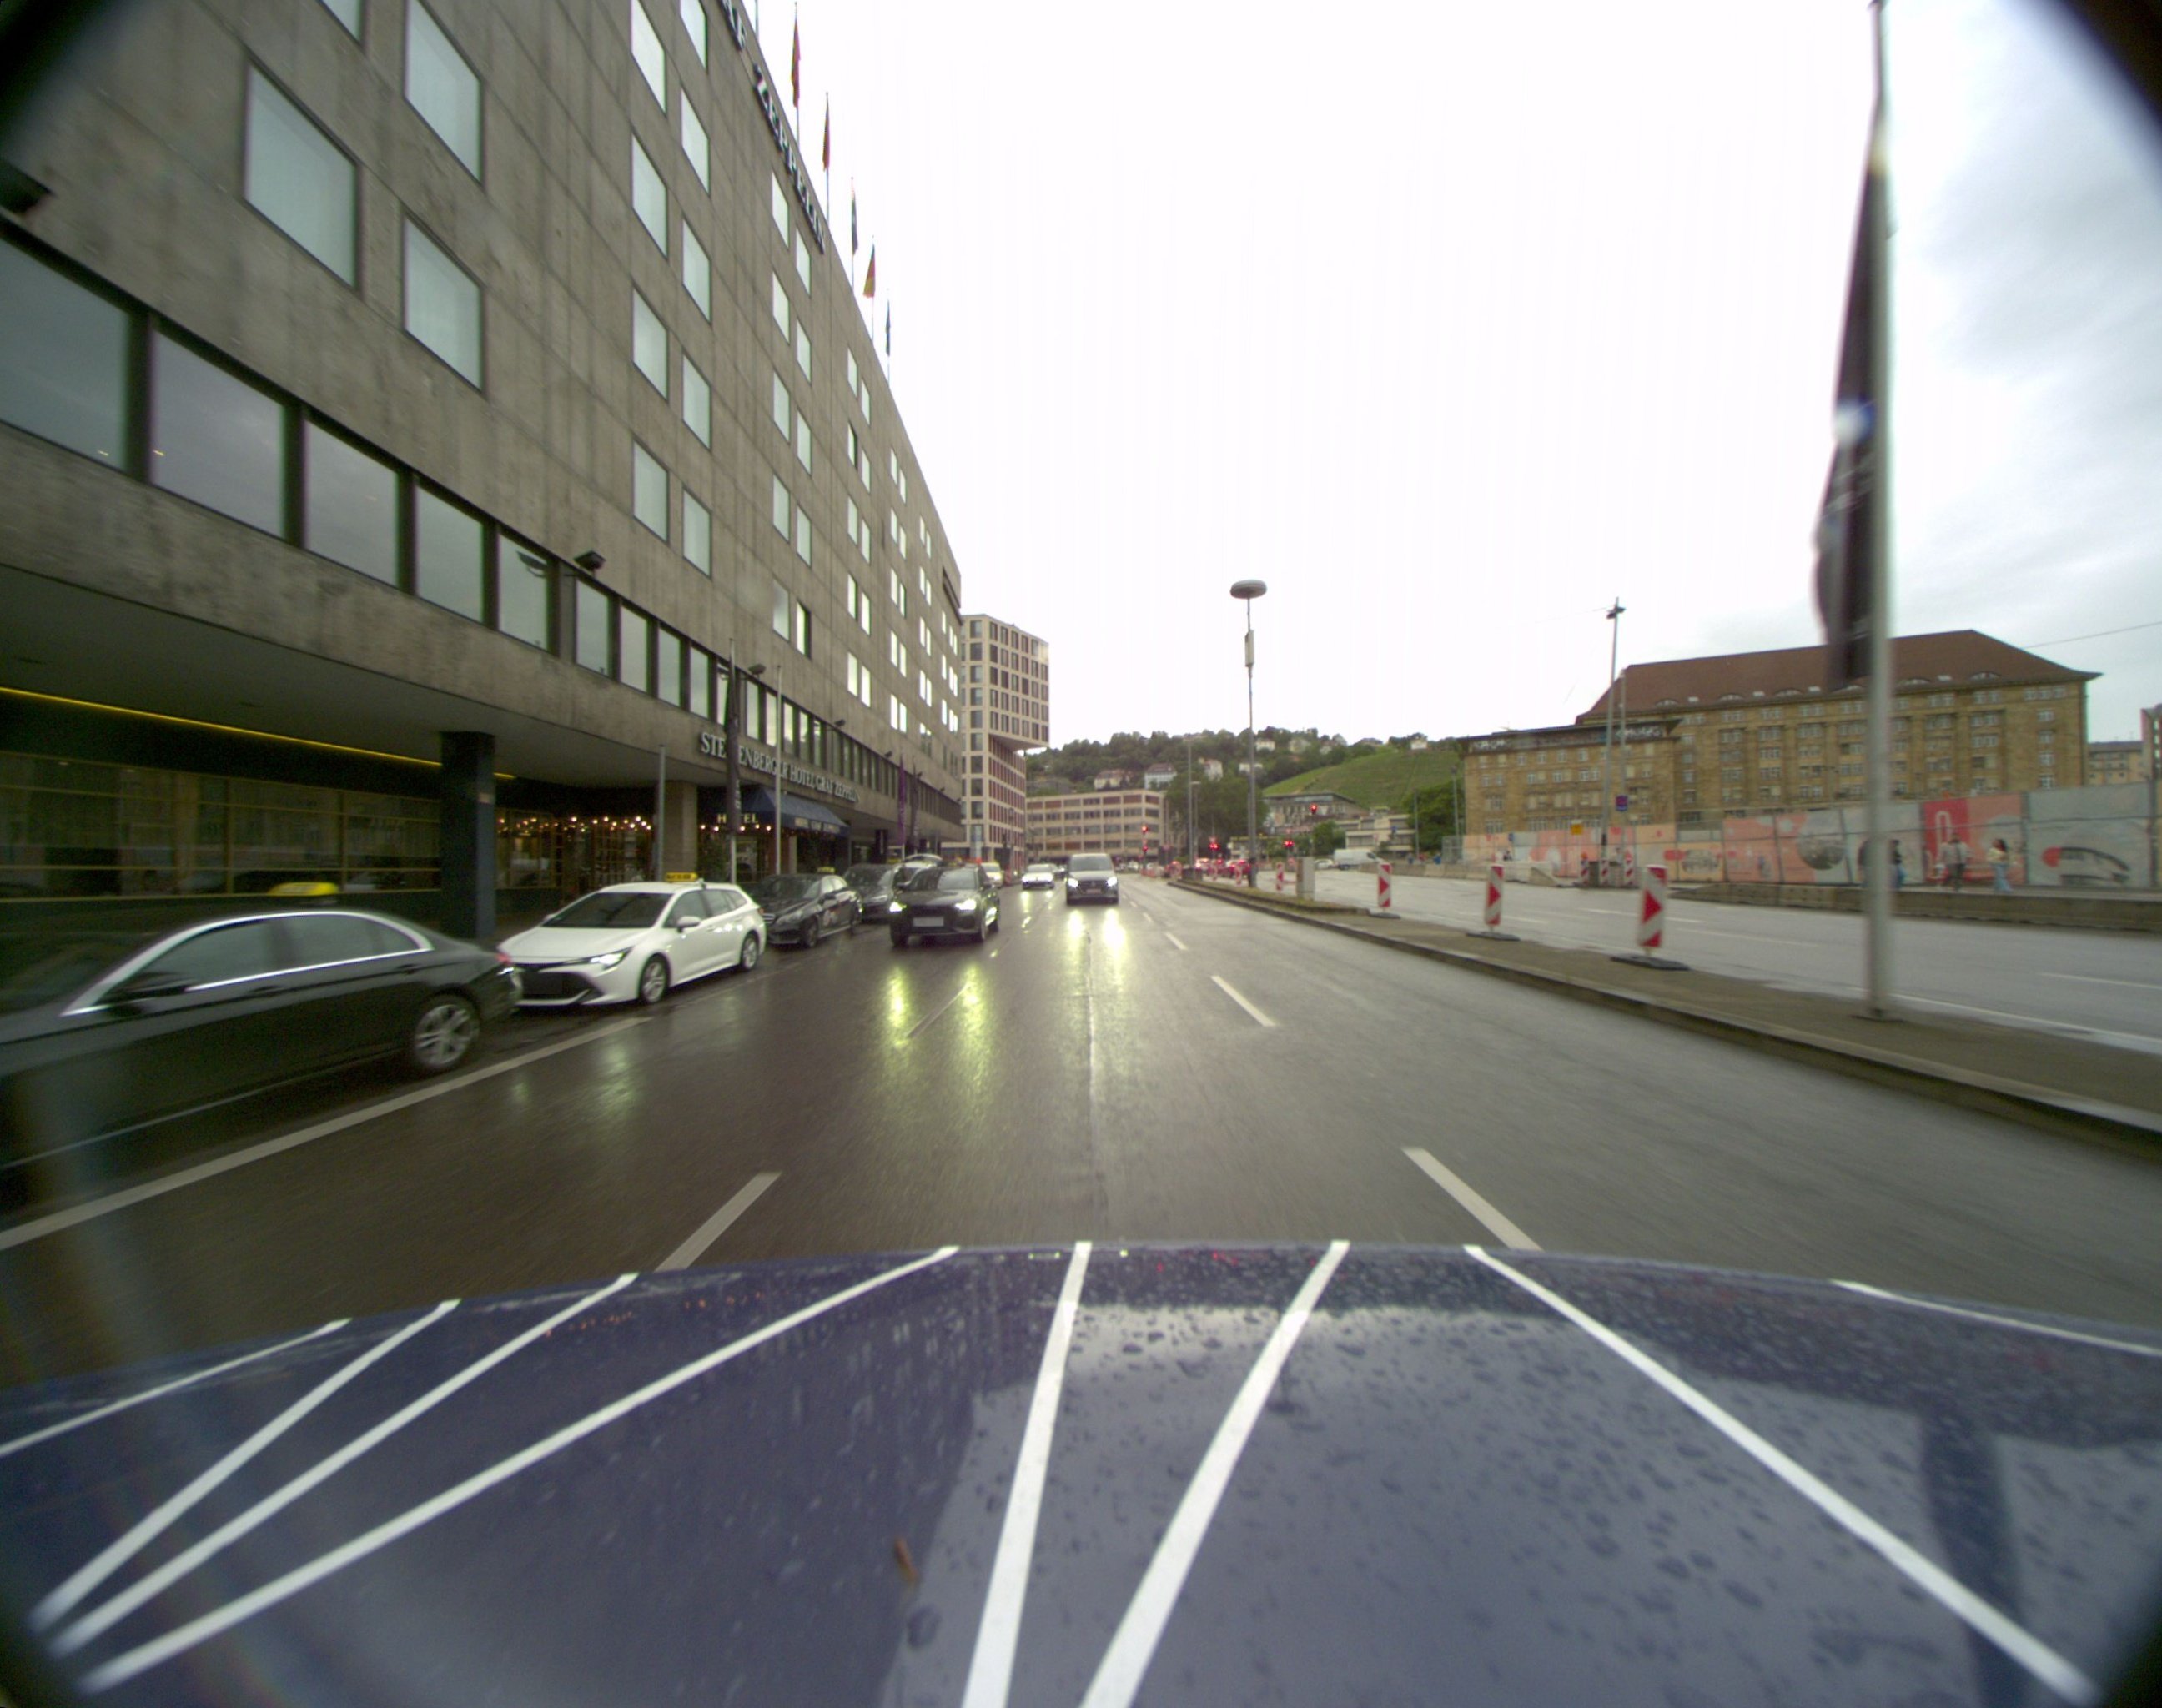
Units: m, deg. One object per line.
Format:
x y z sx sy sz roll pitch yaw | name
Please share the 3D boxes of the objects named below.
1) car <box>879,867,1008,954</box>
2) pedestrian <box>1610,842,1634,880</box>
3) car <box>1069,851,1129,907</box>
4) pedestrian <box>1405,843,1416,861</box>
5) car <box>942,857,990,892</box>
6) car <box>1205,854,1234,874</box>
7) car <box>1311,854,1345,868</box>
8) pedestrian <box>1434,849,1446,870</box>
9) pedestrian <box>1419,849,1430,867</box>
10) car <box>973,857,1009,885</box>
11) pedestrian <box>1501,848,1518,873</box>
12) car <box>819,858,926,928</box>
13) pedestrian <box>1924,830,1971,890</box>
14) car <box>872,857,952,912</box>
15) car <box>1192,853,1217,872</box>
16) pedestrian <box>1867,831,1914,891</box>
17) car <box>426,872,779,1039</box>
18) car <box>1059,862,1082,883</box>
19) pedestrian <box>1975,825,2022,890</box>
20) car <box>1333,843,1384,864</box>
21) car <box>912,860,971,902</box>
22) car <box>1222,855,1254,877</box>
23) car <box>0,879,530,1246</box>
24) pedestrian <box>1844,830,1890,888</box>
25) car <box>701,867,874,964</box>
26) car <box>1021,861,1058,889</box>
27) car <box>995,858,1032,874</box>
-2.843 1.127 16.712 1.883 1.493 4.342 -2 0 1 | car
26.705 0.347 37.511 0.664 1.825 0.720 -2 1 1 | pedestrian
0.671 0.850 28.731 1.998 1.849 5.160 -2 0 1 | car
29.875 -0.208 68.897 0.715 1.606 0.544 -2 1 1 | pedestrian
-5.751 0.986 38.408 1.731 1.604 4.001 -2 0 1 | car
12.609 0.863 69.427 1.785 1.684 3.916 -2 0 -1 | car
34.803 0.959 107.021 4.194 1.846 1.832 -2 1 6 | car
29.019 0.450 61.432 0.715 1.606 0.544 -2 1 1 | pedestrian
31.241 0.335 69.151 0.715 1.606 0.544 -2 1 1 | pedestrian
-5.724 1.044 48.729 1.731 1.604 4.001 -2 0 1 | car
27.715 0.413 49.170 0.715 1.606 0.544 -2 1 1 | pedestrian
-6.020 1.056 22.526 1.731 1.732 4.814 -2 0 1 | car
25.759 0.175 22.595 0.714 1.734 0.564 -2 1 21 | pedestrian
-6.028 1.020 27.723 1.731 1.732 4.814 -2 0 1 | car
12.287 0.833 75.647 1.785 1.684 3.916 -2 0 -1 | car
25.147 0.204 23.614 0.714 1.825 0.718 -2 1 20 | pedestrian
-6.077 1.141 10.540 1.731 1.583 4.814 -2 0 1 | car
-0.903 1.678 69.695 1.967 1.853 4.000 -1 0 1 | car
26.455 0.095 21.920 0.661 1.825 0.556 -2 1 21 | pedestrian
32.200 -0.113 88.237 5.243 2.224 2.001 -2 1 6 | car
-6.033 1.133 33.231 1.731 1.604 4.001 -2 0 1 | car
12.699 0.966 61.677 1.785 1.684 3.916 -1 0 1 | car
-6.144 1.097 4.680 1.879 1.628 4.814 -2 0 1 | car
24.015 0.153 23.226 0.714 1.723 0.718 -2 1 20 | pedestrian
-6.047 1.176 16.354 1.731 1.583 4.814 -2 0 1 | car
-2.450 1.242 45.756 1.898 1.477 4.000 -2 0 1 | car
-7.038 1.264 79.275 1.873 1.461 3.989 -3 1 -40 | car
